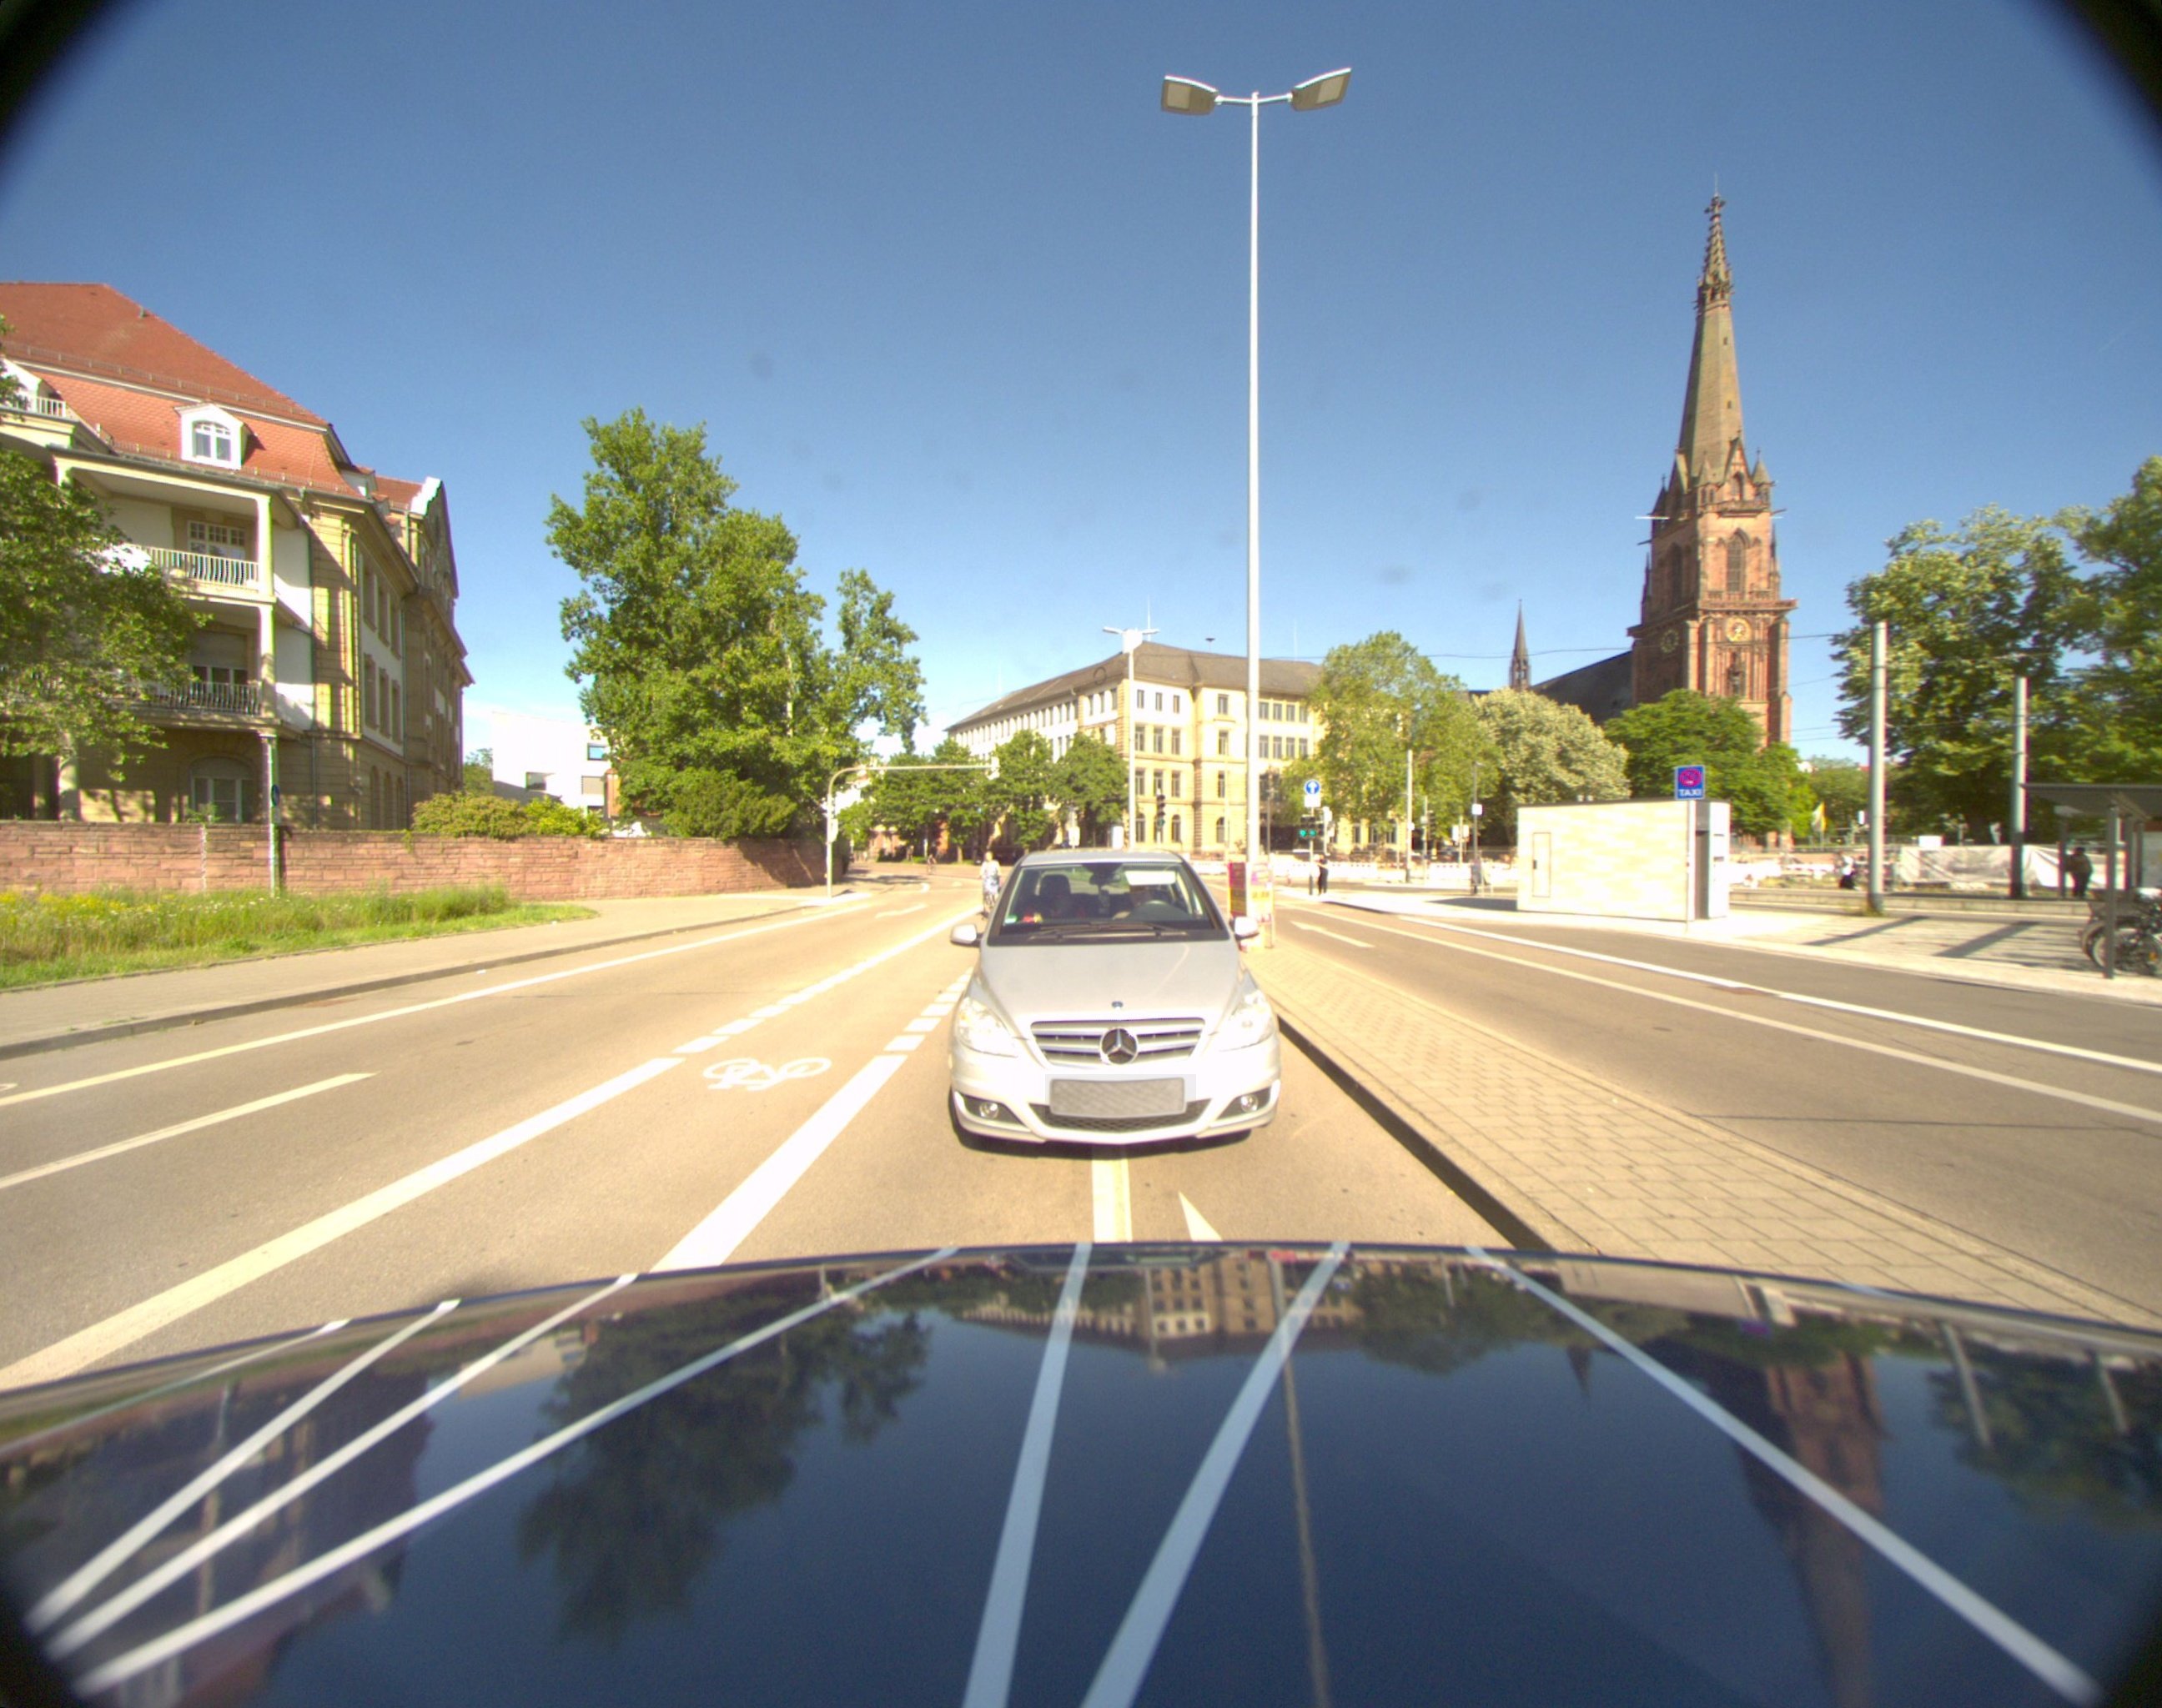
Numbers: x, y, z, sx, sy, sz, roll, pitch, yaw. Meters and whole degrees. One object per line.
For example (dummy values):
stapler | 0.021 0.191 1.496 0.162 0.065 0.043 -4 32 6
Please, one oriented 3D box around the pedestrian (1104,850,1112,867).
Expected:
pedestrian | 2.679 0.456 75.466 0.677 1.714 0.588 -1 1 -22

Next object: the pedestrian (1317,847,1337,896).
pedestrian | 9.373 0.673 28.981 0.693 1.844 0.679 0 1 13

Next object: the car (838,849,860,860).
car | -33.054 0.014 108.336 1.798 1.490 4.563 1 1 -33

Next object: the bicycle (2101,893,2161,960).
bicycle | 17.256 1.147 11.650 0.458 1.003 1.899 -1 1 -33

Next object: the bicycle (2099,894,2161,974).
bicycle | 15.197 1.123 10.276 0.458 1.055 1.667 -1 1 -33

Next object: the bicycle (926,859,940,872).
bicycle | -11.676 0.919 59.979 0.711 1.000 1.753 -1 1 1

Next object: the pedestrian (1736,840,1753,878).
pedestrian | 38.078 0.292 43.615 0.571 2.142 0.549 -1 1 -25

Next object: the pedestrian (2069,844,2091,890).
pedestrian | 37.568 0.498 28.573 0.404 1.711 0.419 1 1 38

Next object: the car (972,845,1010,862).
car | -10.730 -0.040 90.757 1.994 2.002 4.721 0 1 32

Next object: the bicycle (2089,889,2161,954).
bicycle | 17.910 1.126 12.424 0.458 1.003 1.667 -1 1 -33

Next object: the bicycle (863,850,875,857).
bicycle | -31.103 -0.084 111.459 1.830 0.985 0.735 0 1 44

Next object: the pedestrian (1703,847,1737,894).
pedestrian | 24.319 0.612 28.917 0.980 1.769 0.801 -1 1 -37

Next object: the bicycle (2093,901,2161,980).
bicycle | 14.695 1.170 9.961 0.458 1.003 1.667 -1 1 -33

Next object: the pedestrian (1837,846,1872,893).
pedestrian | 29.908 0.586 29.385 0.980 1.769 0.801 -1 1 -37

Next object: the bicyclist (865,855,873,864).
bicyclist | -31.048 0.828 111.406 0.893 1.377 0.735 1 1 44

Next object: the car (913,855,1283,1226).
car | 0.051 0.880 5.527 1.706 1.657 3.913 -1 1 -1

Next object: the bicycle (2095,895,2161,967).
bicycle | 16.069 1.147 10.972 0.458 1.003 1.667 -1 1 -33

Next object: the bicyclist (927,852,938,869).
bicyclist | -11.682 0.518 59.700 0.711 1.309 0.777 -1 1 1

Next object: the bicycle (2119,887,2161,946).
bicycle | 19.123 1.098 12.944 0.458 1.003 1.667 -1 1 -33

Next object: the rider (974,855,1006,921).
rider | -2.276 0.837 19.100 0.658 1.610 0.989 -1 1 1

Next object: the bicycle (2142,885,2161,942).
bicycle | 19.891 1.075 13.195 0.458 1.003 1.667 -1 1 -33
